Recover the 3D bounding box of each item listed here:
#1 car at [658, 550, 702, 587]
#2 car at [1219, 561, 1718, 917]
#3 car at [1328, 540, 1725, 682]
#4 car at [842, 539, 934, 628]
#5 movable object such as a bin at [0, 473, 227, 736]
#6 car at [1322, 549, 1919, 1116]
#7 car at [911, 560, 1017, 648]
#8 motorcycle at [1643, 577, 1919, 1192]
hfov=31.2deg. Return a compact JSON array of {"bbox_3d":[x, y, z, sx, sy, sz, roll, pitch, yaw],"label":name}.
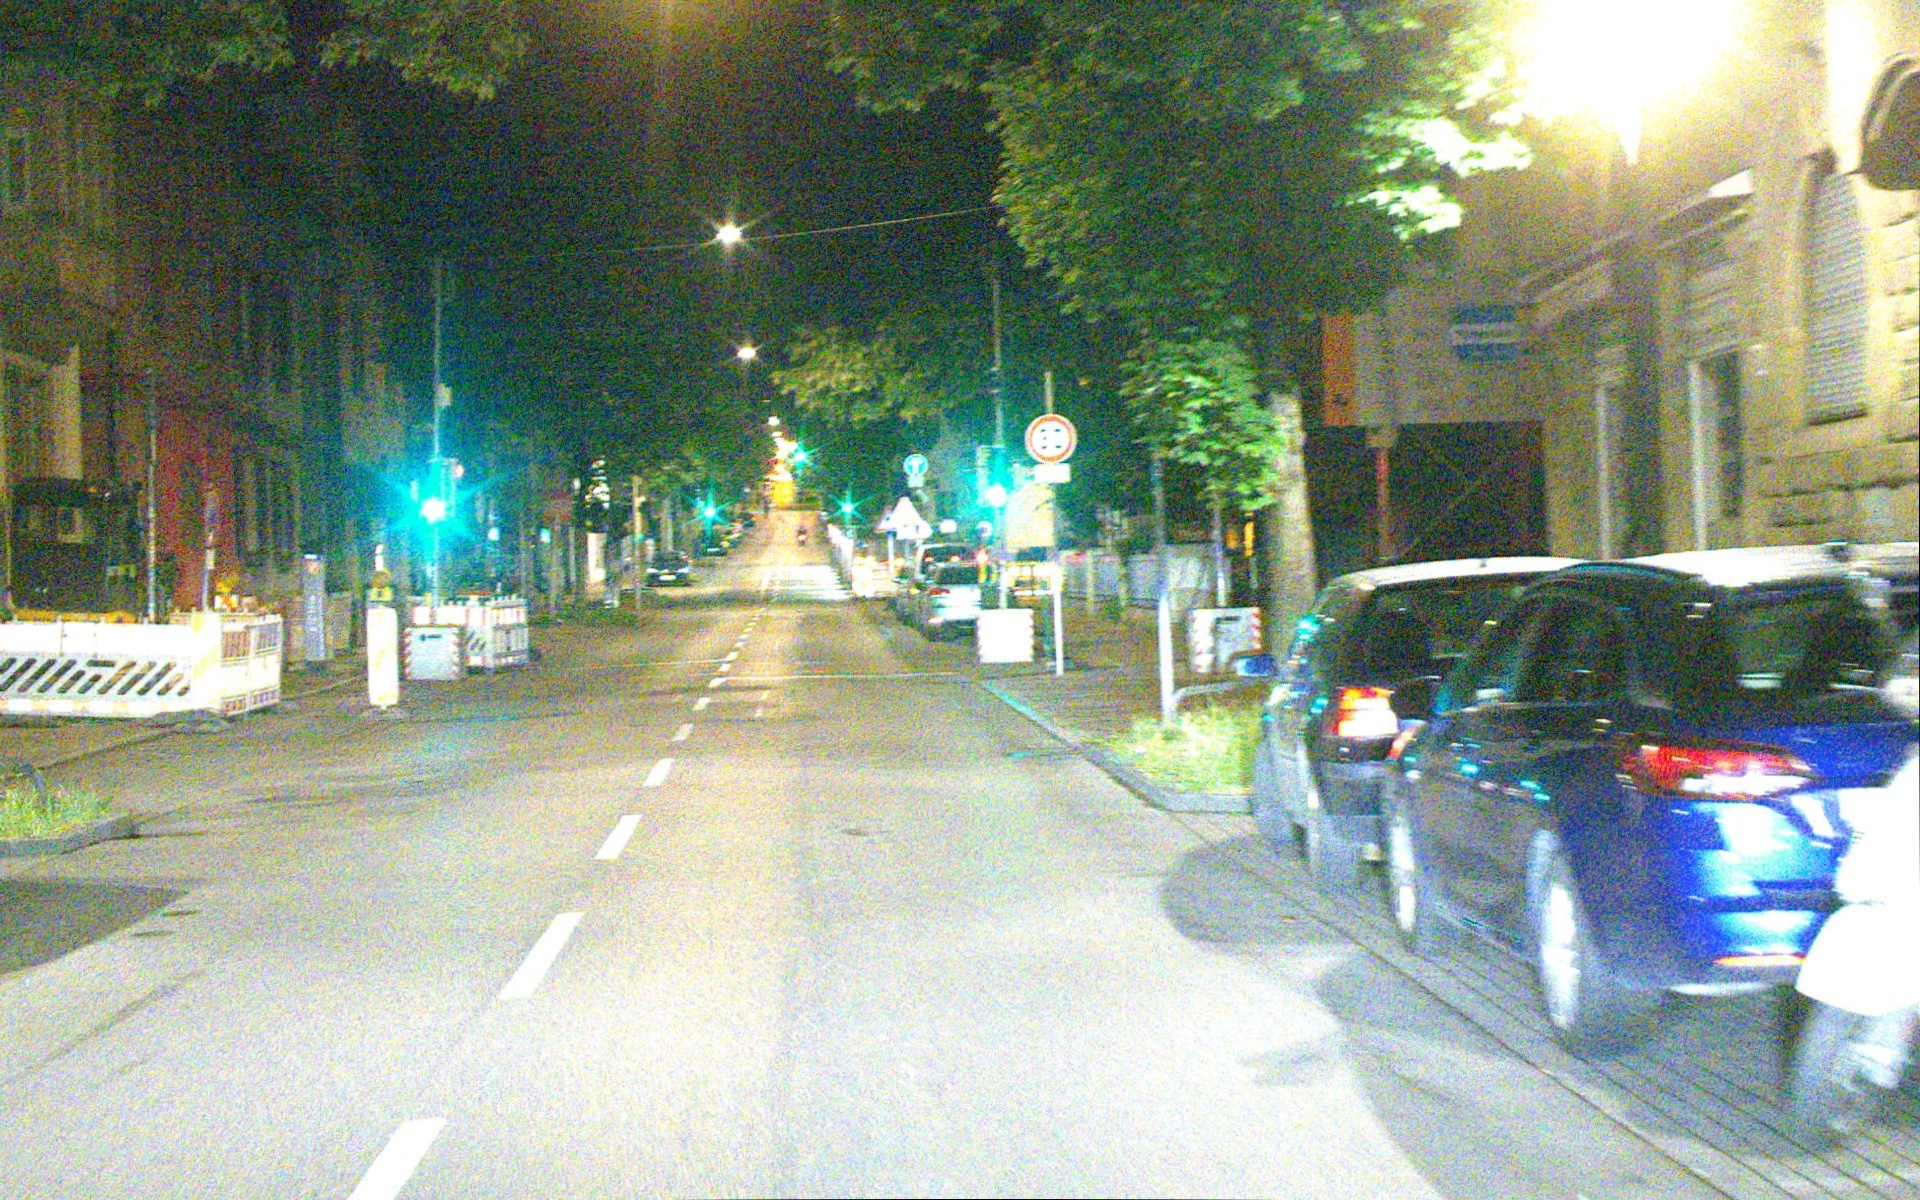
[{"bbox_3d":[-11.592,-1.332,142.541,1.671,1.438,4.205,-1,1,-3],"label":"car"},{"bbox_3d":[2.305,0.569,16.552,1.736,1.449,4.000,-2,1,0],"label":"car"},{"bbox_3d":[6.291,0.131,38.468,4.013,1.417,1.852,-2,-1,-4],"label":"car"},{"bbox_3d":[-1.614,-0.382,75.562,1.735,1.848,4.317,-2,1,-4],"label":"car"},{"bbox_3d":[-9.097,0.020,37.023,1.571,2.617,3.910,-2,1,-2],"label":"movable object such as a bin"},{"bbox_3d":[2.471,0.601,11.529,1.732,1.496,4.468,-2,0,-4],"label":"car"},{"bbox_3d":[0.049,0.045,64.594,1.739,1.472,4.000,-4,1,-2],"label":"car"},{"bbox_3d":[2.911,0.626,8.703,2.052,1.401,0.925,-3,1,-11],"label":"motorcycle"}]
